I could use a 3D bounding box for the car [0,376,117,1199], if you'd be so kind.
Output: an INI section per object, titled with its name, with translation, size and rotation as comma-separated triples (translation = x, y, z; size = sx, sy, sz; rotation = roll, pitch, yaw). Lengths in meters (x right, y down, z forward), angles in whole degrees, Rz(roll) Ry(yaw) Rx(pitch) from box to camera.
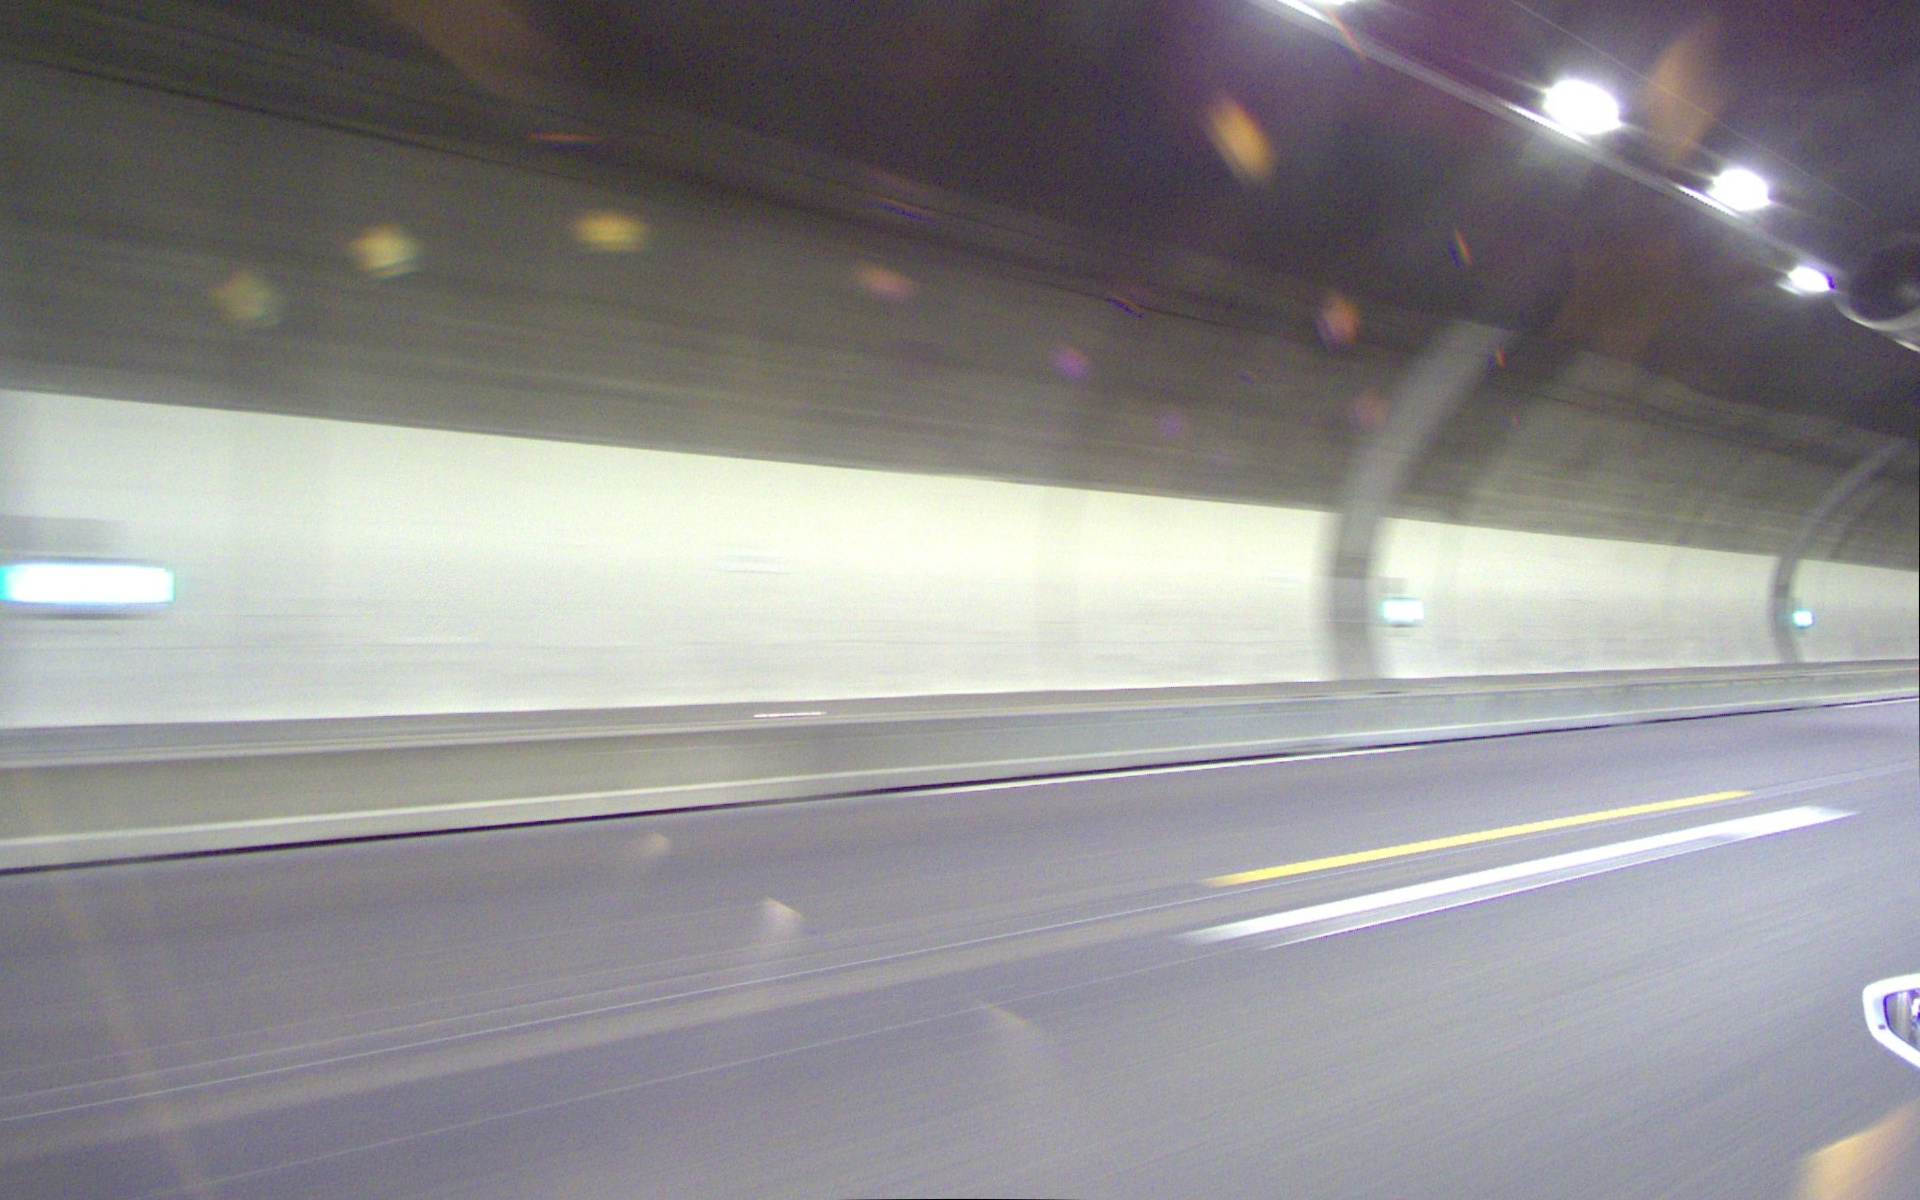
[car]
translation = -4.360, 0.428, 0.764
size = 5.392, 1.920, 1.983
rotation = 2, 0, -31
